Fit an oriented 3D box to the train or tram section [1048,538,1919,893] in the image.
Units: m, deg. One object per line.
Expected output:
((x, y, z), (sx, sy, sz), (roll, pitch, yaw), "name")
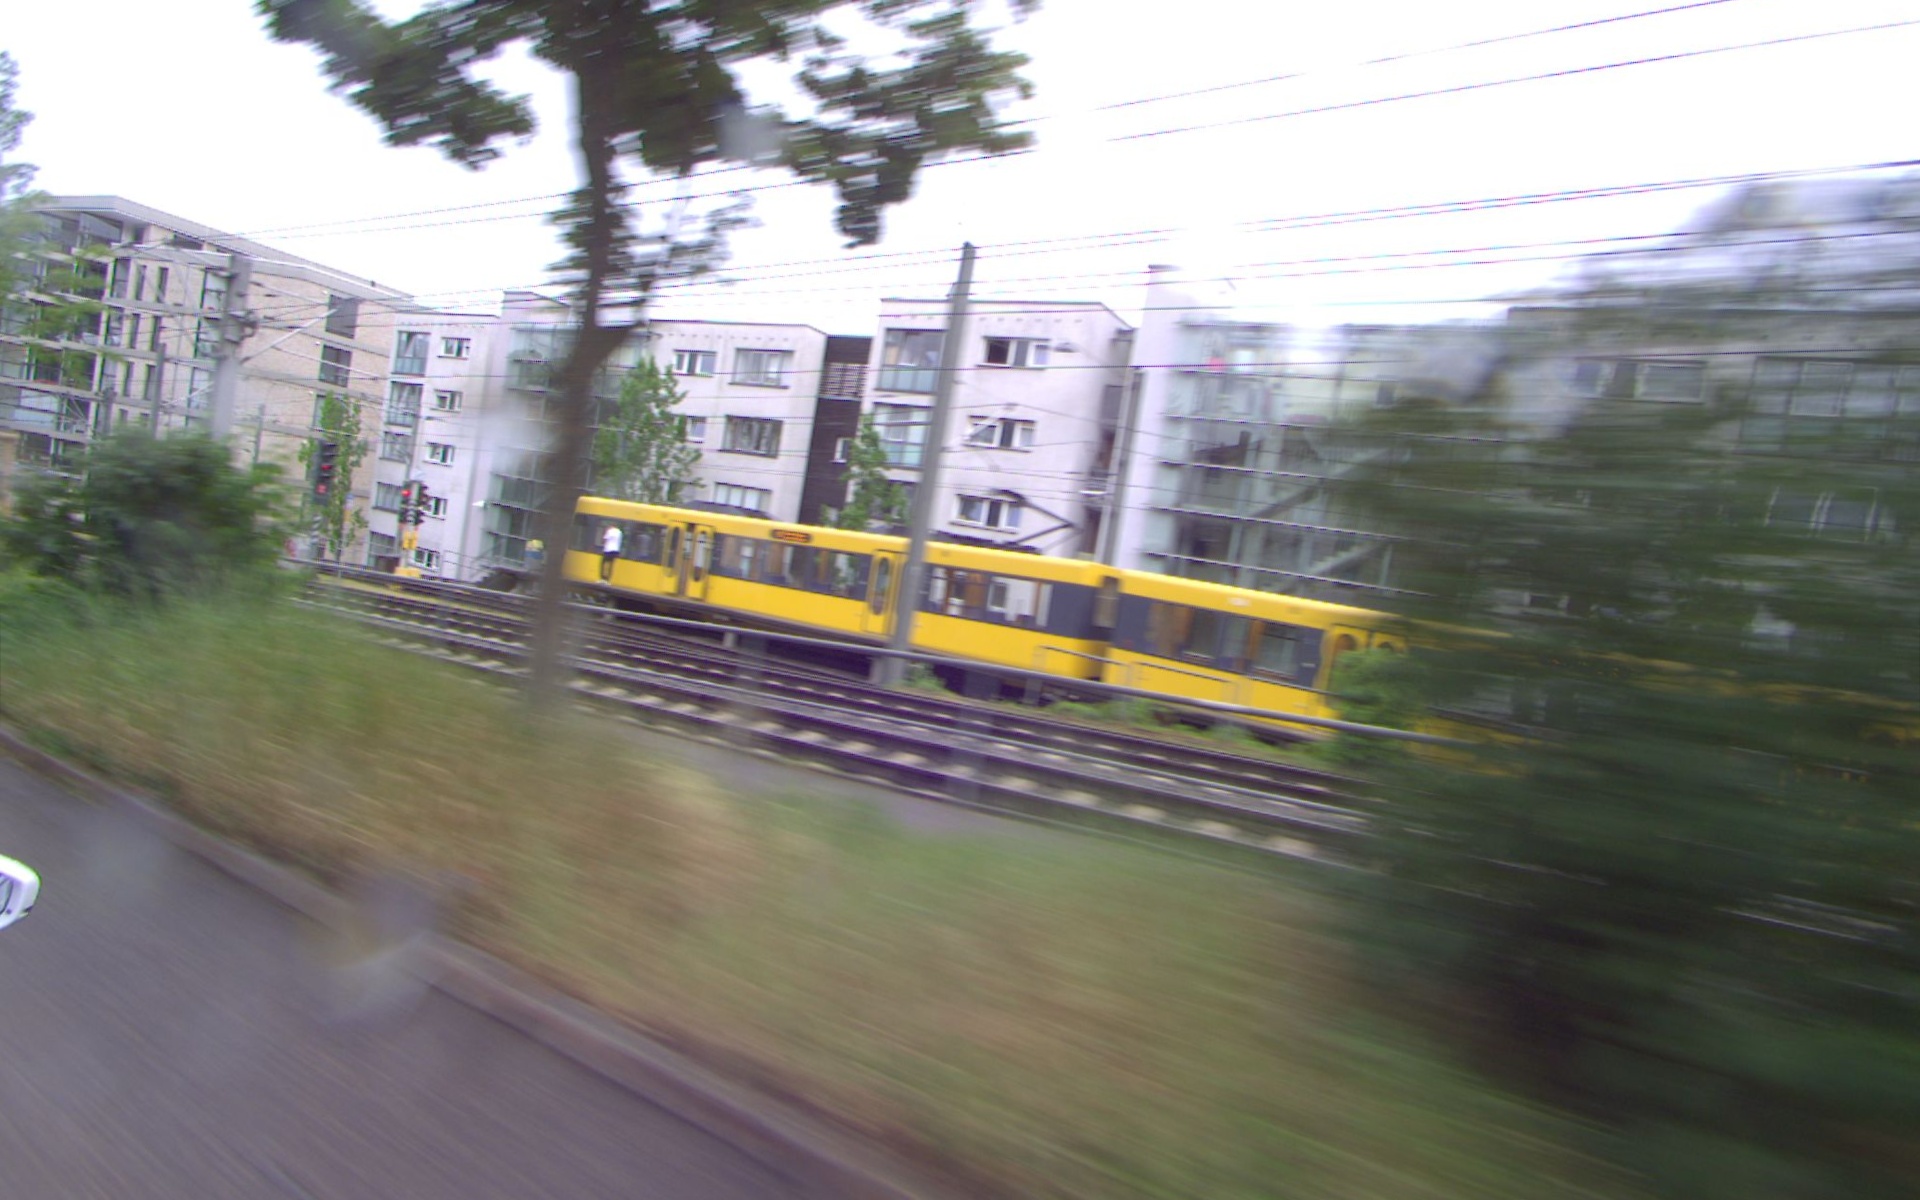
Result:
((11.033, 1.863, 18.635), (18.960, 3.996, 3.335), (8, 0, 32), "train or tram section")

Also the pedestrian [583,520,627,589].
((-10.416, -1.342, 29.541), (0.804, 1.903, 0.722), (6, 0, 32), "pedestrian")

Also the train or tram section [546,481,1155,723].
((-4.115, -0.396, 28.149), (18.498, 3.996, 3.335), (9, 1, 32), "train or tram section")
